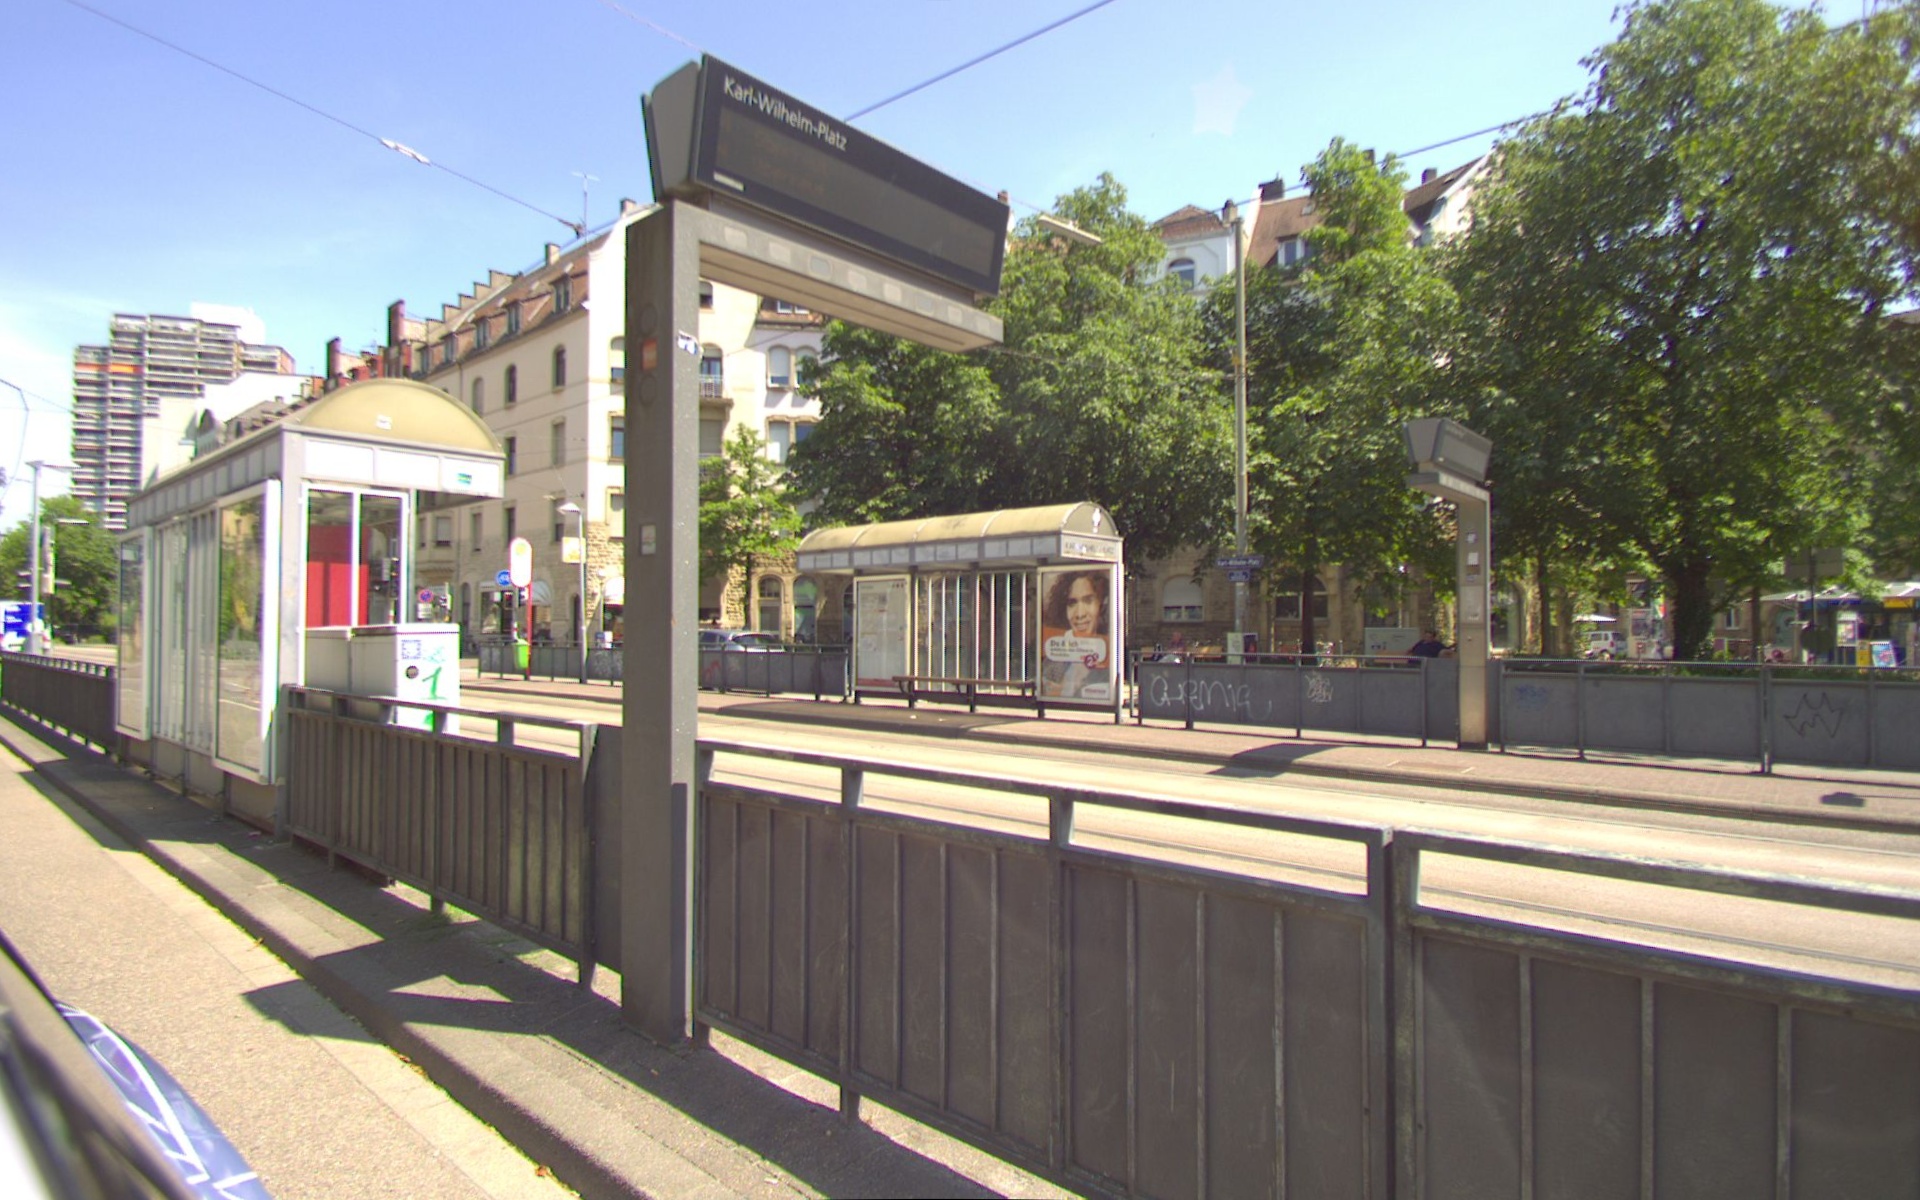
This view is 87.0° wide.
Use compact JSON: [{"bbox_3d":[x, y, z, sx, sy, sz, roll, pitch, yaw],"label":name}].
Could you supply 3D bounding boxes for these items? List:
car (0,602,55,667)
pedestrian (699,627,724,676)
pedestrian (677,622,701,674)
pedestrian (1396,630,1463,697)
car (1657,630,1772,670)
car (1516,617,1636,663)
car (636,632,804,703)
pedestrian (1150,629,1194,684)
[{"bbox_3d":[-42.097,1.467,43.652,5.787,2.693,2.258,-1,0,22],"label":"car"},{"bbox_3d":[-7.981,1.652,32.490,0.473,1.563,0.586,-2,-3,39],"label":"pedestrian"},{"bbox_3d":[-8.867,1.565,33.061,0.473,1.659,0.586,-2,-3,41],"label":"pedestrian"},{"bbox_3d":[9.285,1.232,20.036,0.852,1.253,0.939,-1,0,-43],"label":"pedestrian"},{"bbox_3d":[35.790,2.334,48.098,1.736,1.721,3.998,-1,0,-33],"label":"car"},{"bbox_3d":[26.721,1.691,44.006,1.966,1.803,4.011,-1,0,-33],"label":"car"},{"bbox_3d":[-5.595,1.483,23.356,3.998,1.404,1.789,-1,0,41],"label":"car"},{"bbox_3d":[5.096,1.349,24.310,0.930,1.253,0.860,-1,0,17],"label":"pedestrian"}]
